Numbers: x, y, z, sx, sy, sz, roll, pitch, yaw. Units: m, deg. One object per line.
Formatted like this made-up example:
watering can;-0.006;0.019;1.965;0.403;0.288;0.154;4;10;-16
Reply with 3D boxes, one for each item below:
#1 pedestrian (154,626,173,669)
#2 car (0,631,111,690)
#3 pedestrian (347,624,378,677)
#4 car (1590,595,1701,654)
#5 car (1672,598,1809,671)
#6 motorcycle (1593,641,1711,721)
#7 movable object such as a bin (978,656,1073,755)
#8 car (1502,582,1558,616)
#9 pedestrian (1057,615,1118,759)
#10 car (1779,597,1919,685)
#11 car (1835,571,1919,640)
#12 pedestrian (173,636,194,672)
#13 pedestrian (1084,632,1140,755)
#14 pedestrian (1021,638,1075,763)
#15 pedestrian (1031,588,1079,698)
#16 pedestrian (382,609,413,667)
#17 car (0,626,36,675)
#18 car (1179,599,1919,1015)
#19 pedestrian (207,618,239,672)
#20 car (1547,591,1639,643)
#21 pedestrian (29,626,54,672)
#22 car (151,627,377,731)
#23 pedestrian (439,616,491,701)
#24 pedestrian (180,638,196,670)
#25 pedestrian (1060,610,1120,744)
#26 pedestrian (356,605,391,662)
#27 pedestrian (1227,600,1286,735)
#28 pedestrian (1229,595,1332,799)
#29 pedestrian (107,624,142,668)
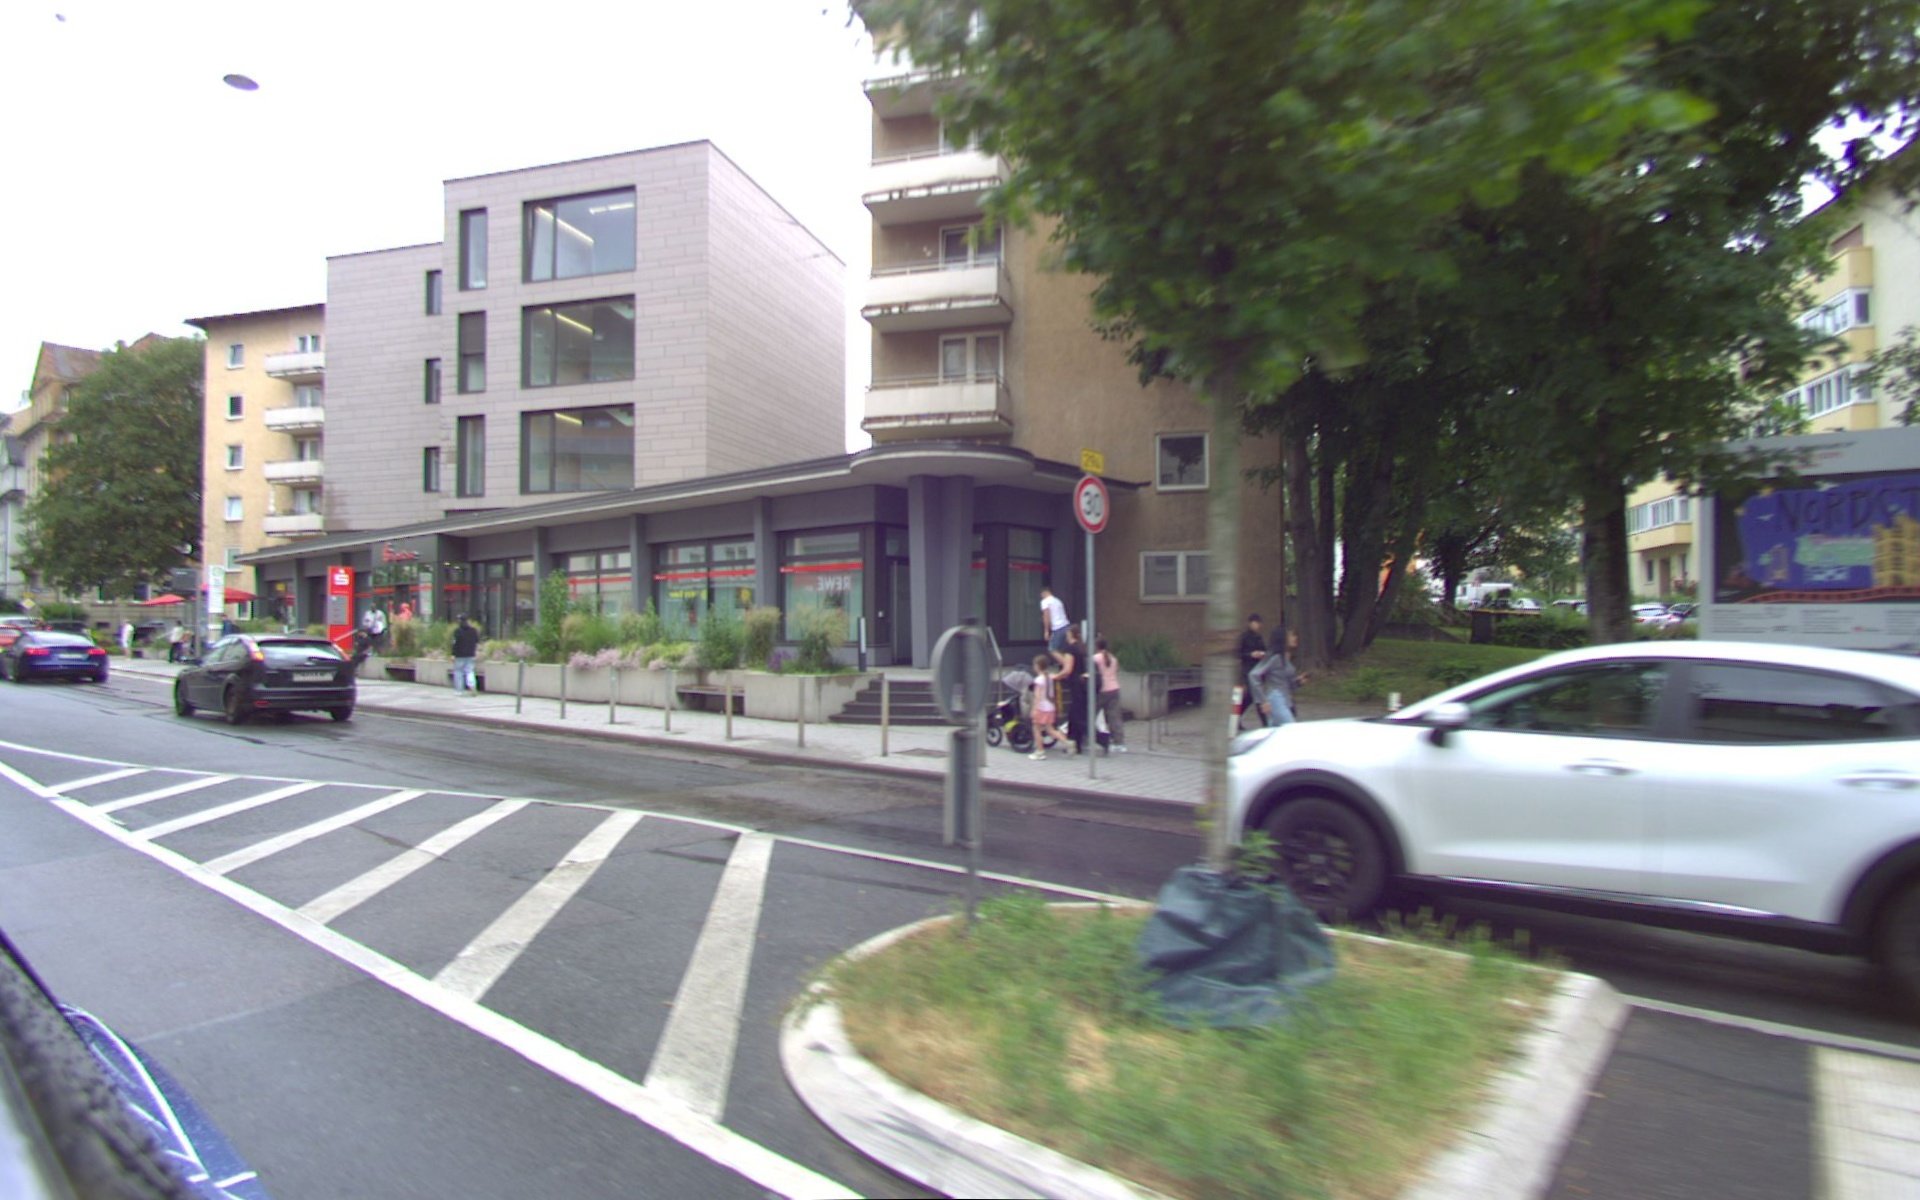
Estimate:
pedestrian;-29.307;1.737;37.252;0.532;1.561;0.433;-1;-2;38
car;-25.948;1.654;28.716;4.906;1.523;1.936;-1;-2;39
pedestrian;-16.479;1.376;27.929;0.582;1.431;0.727;0;-1;-16
car;24.711;0.900;36.656;1.981;2.029;3.982;-1;-2;14
car;23.421;1.040;30.572;1.984;2.029;3.976;-1;-2;18
motorcycle;10.380;1.180;15.152;2.025;0.995;0.798;-3;0;-36
movable object such as a bin;0.829;1.303;12.781;0.963;1.143;0.697;-1;0;36
car;35.729;-0.020;63.501;1.980;2.029;3.983;-1;-1;13
pedestrian;1.539;1.022;12.230;0.551;1.686;0.493;-1;-1;36
car;22.752;0.951;25.194;1.979;2.029;3.986;-1;-1;11
car;29.620;0.195;31.462;1.980;2.029;3.983;-1;-1;13
pedestrian;-27.840;1.930;36.289;0.548;1.287;0.463;-1;-2;39
pedestrian;1.895;1.139;12.610;0.529;1.484;0.455;-1;-1;36
pedestrian;1.038;1.166;11.940;0.480;1.421;0.429;-1;-1;36
pedestrian;1.639;0.725;17.341;0.714;1.840;0.721;-2;-1;11
pedestrian;-16.691;1.129;30.040;0.701;1.691;0.803;0;-1;-23
car;-37.431;1.910;38.883;5.054;1.778;2.085;-1;-3;39
car;3.411;0.885;5.240;4.083;1.581;1.802;-2;-6;38
pedestrian;-25.187;1.527;34.594;0.867;1.833;0.585;-1;-1;31
car;26.025;0.751;41.762;1.980;2.029;3.982;-1;-2;13
pedestrian;-41.329;2.182;45.539;0.781;2.029;0.695;0;-1;35
car;-11.965;1.273;17.316;4.237;1.569;1.936;-2;-3;37
pedestrian;-10.864;1.271;22.234;0.716;1.840;0.718;-2;-1;20
pedestrian;-27.460;1.918;35.993;0.386;1.125;0.388;-1;-2;39
pedestrian;1.783;1.026;13.804;0.714;1.772;0.653;-1;-2;16
pedestrian;-17.636;1.009;30.430;0.712;1.691;0.706;-2;-2;39
pedestrian;4.272;0.949;14.549;0.690;1.859;0.855;-1;-2;25
pedestrian;3.027;0.894;9.620;0.847;1.840;0.719;-2;-1;17
pedestrian;-34.183;1.883;41.408;0.755;1.721;0.789;-2;0;14
